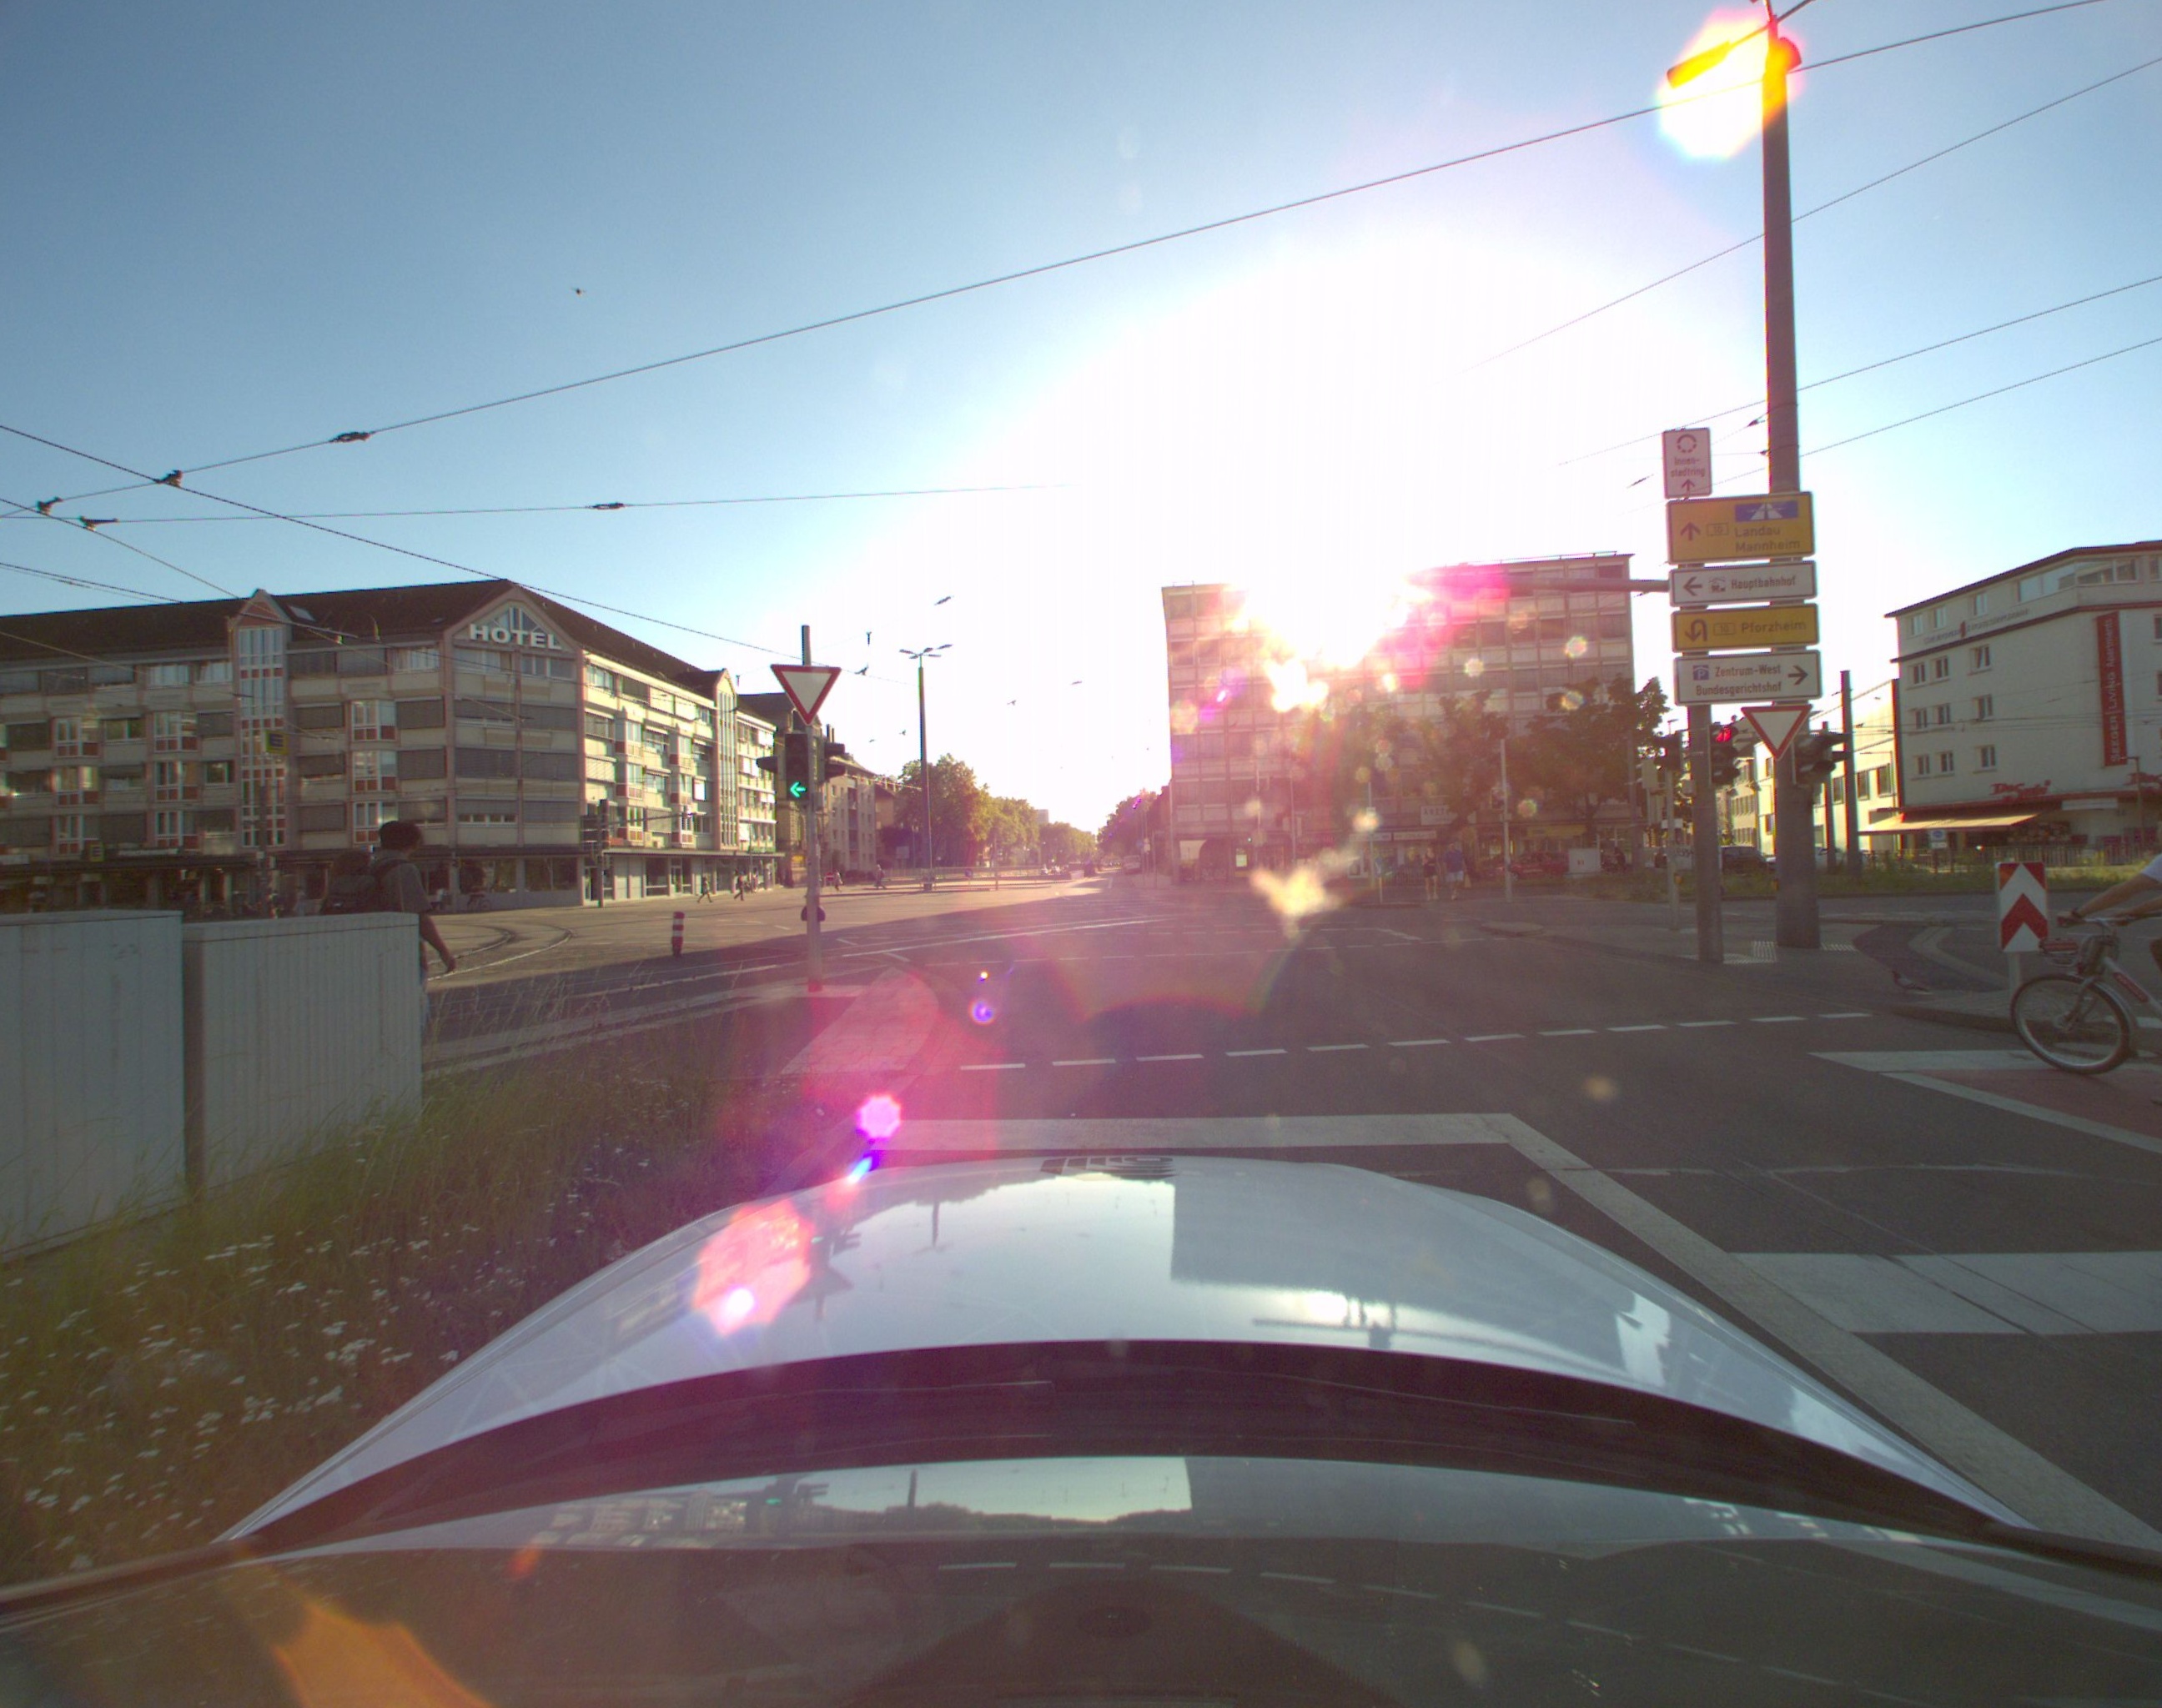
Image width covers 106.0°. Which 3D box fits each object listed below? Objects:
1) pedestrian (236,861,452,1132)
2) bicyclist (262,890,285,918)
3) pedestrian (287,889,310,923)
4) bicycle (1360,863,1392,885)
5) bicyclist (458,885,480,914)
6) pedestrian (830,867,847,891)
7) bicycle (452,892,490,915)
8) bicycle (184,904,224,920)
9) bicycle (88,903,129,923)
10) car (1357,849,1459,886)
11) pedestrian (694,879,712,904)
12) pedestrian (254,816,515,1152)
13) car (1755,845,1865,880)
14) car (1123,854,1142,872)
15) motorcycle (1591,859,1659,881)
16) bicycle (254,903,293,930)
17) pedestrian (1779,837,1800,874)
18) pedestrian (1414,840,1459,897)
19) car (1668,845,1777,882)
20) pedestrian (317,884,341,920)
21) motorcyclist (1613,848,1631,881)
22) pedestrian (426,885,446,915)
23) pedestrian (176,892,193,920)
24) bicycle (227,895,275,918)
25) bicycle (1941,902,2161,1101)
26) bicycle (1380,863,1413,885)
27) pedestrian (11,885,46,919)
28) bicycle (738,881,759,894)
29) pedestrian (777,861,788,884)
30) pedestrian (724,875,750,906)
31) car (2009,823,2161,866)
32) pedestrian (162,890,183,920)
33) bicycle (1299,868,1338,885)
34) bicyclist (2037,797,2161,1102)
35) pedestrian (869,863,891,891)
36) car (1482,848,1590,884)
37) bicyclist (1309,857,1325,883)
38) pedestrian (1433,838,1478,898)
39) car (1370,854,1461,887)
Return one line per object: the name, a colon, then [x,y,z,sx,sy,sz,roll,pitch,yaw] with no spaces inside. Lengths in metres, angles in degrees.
pedestrian: [-4.984,0.873,5.534,0.778,1.640,0.906,-1,-1,33]
bicyclist: [-43.419,2.693,43.785,0.729,1.481,0.569,-1,1,19]
pedestrian: [-39.653,2.625,41.298,0.625,1.694,0.859,0,-1,-30]
bicycle: [17.021,1.122,47.100,0.748,1.143,2.637,0,2,-4]
bicyclist: [-34.802,2.597,46.315,0.636,1.596,0.659,0,1,5]
pedestrian: [-14.992,1.549,50.354,0.858,1.465,0.680,0,-6,-27]
bicycle: [-34.790,2.820,46.475,0.635,1.145,1.773,0,2,6]
bicycle: [-52.424,3.461,48.666,2.060,0.917,0.502,-2,-1,7]
bicycle: [-60.144,3.644,50.388,0.481,1.119,1.650,0,-1,2]
car: [14.750,0.617,36.896,3.966,1.618,1.847,-1,-1,6]
pedestrian: [-22.621,2.223,48.747,0.703,1.453,0.855,0,-1,-2]
pedestrian: [-4.280,0.708,5.039,0.778,1.800,0.906,0,6,39]
car: [34.552,0.402,38.641,3.988,1.618,1.837,0,-1,-11]
car: [6.459,1.172,102.010,2.275,2.172,4.838,0,-1,4]
motorcycle: [24.959,0.747,37.368,2.648,1.001,0.536,0,-1,6]
bicycle: [-43.405,3.338,43.795,2.071,1.366,0.587,0,1,18]
pedestrian: [39.213,0.073,45.083,0.620,2.014,0.718,-1,-1,17]
pedestrian: [10.804,0.443,24.749,0.700,1.682,1.030,1,-1,-36]
car: [29.404,0.445,37.364,3.990,1.618,1.836,0,-1,-13]
pedestrian: [-38.196,2.409,41.372,0.510,1.764,0.999,0,-1,-17]
motorcyclist: [24.838,0.495,37.389,0.458,1.509,0.536,-1,-1,7]
pedestrian: [-36.486,2.606,46.078,0.717,1.662,0.629,-2,-1,-22]
pedestrian: [-54.047,3.132,49.084,0.614,1.635,0.596,0,-1,-43]
bicycle: [-49.426,3.123,48.488,2.312,1.227,0.731,-2,-1,7]
bicycle: [6.512,0.882,4.971,0.540,1.101,1.807,0,-1,-2]
bicycle: [18.215,1.123,47.115,0.748,1.143,2.637,0,2,-4]
pedestrian: [-52.538,2.367,40.647,0.680,1.660,0.780,0,-1,-4]
bicycle: [-29.569,2.950,72.512,0.447,1.071,2.102,-1,-1,19]
pedestrian: [-31.055,1.888,84.674,0.926,2.398,0.958,0,-1,-9]
pedestrian: [-21.636,2.305,51.217,1.191,1.883,0.856,0,3,-3]
car: [45.303,-0.380,36.519,4.577,1.842,1.912,-1,-1,15]
pedestrian: [-56.192,3.147,50.367,0.598,1.852,0.613,-1,-1,12]
bicycle: [13.438,1.251,46.097,2.017,0.940,0.671,0,-1,1]
bicyclist: [6.532,0.551,4.778,0.540,1.768,1.059,0,-1,-3]
pedestrian: [-12.907,1.478,52.384,1.191,1.731,0.855,0,-1,-3]
car: [20.941,0.554,37.635,3.966,1.618,1.847,-1,-1,6]
bicyclist: [13.349,0.899,46.107,0.677,1.424,0.671,0,-1,1]
pedestrian: [11.516,0.429,25.048,0.700,1.793,1.030,1,-1,-36]
car: [17.332,0.856,42.377,4.046,1.618,1.847,-1,-1,6]
